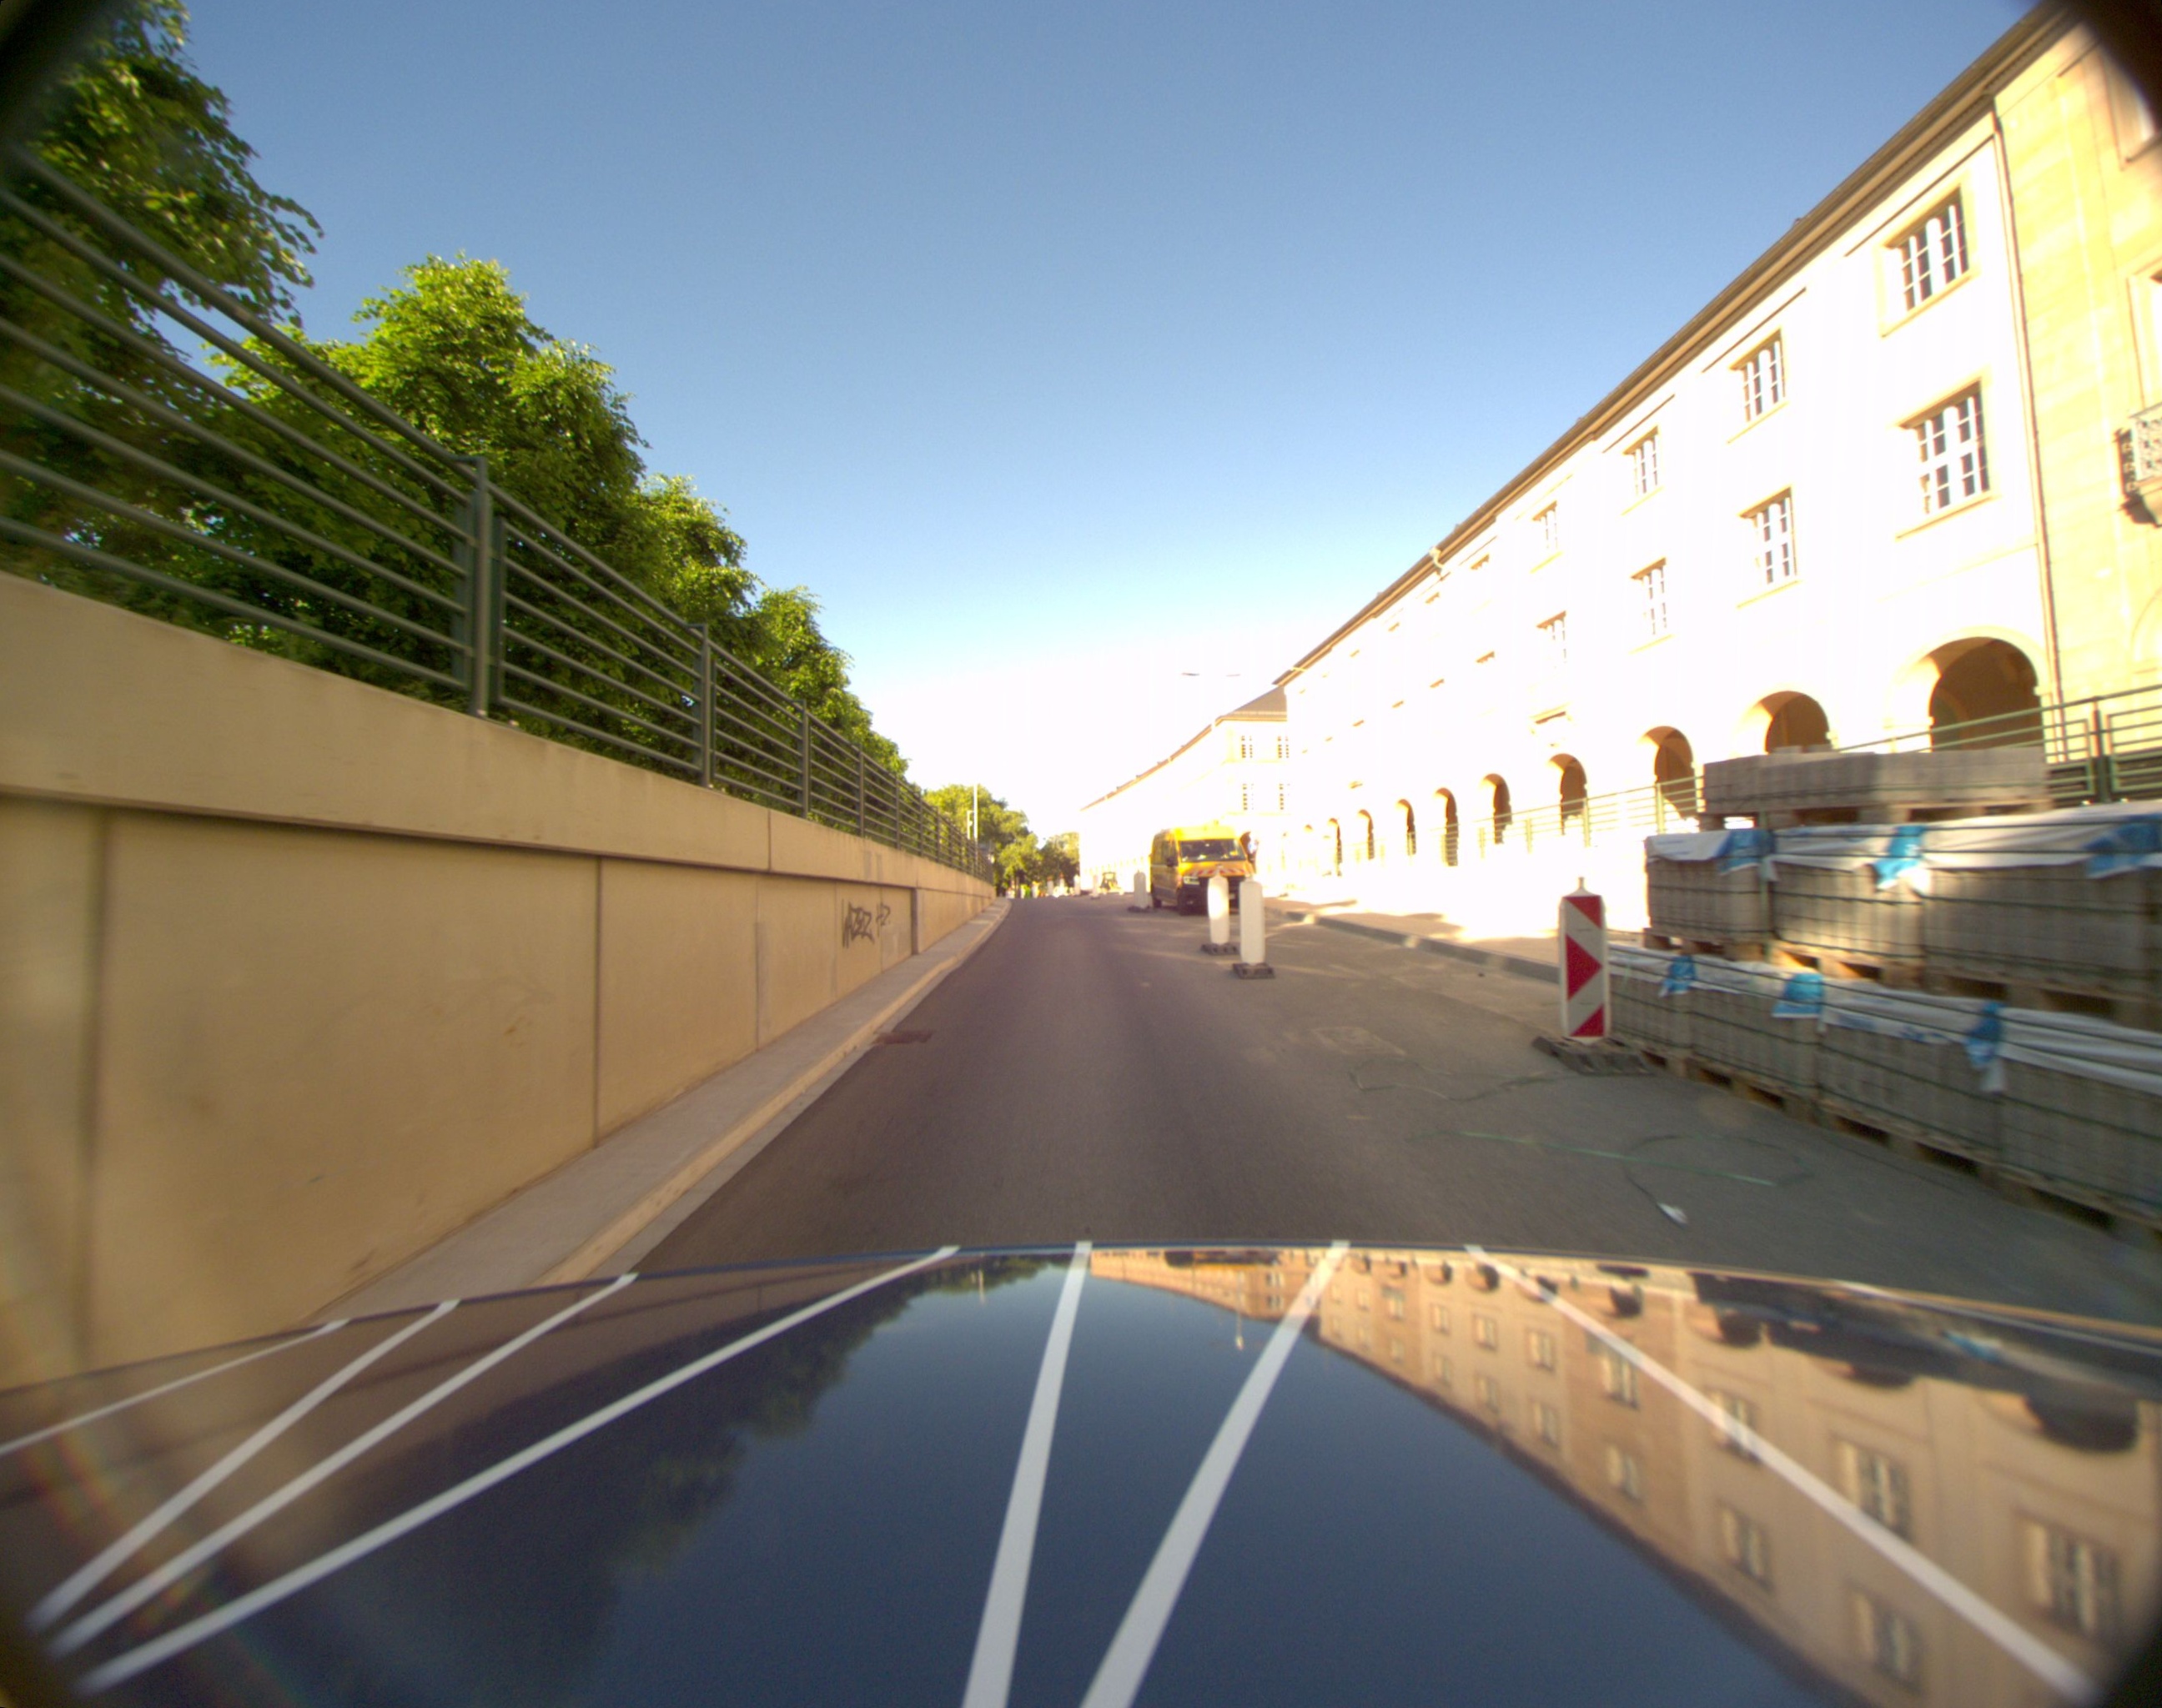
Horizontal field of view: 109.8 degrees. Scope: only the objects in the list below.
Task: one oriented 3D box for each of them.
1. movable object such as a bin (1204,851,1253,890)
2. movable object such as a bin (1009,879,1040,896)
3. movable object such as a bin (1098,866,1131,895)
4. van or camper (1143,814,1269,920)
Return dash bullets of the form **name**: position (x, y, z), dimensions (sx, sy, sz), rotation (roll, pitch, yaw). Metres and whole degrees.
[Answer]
- **movable object such as a bin**: position (9.572, 1.129, 49.667), dimensions (2.105, 2.380, 4.308), rotation (1, -2, -5)
- **movable object such as a bin**: position (-6.838, 4.071, 92.271), dimensions (3.247, 2.063, 2.107), rotation (1, -3, -22)
- **movable object such as a bin**: position (2.870, 2.380, 66.970), dimensions (1.797, 2.437, 4.534), rotation (0, -3, -12)
- **van or camper**: position (3.462, 0.373, 22.801), dimensions (2.200, 2.597, 6.823), rotation (-3, -1, -3)
